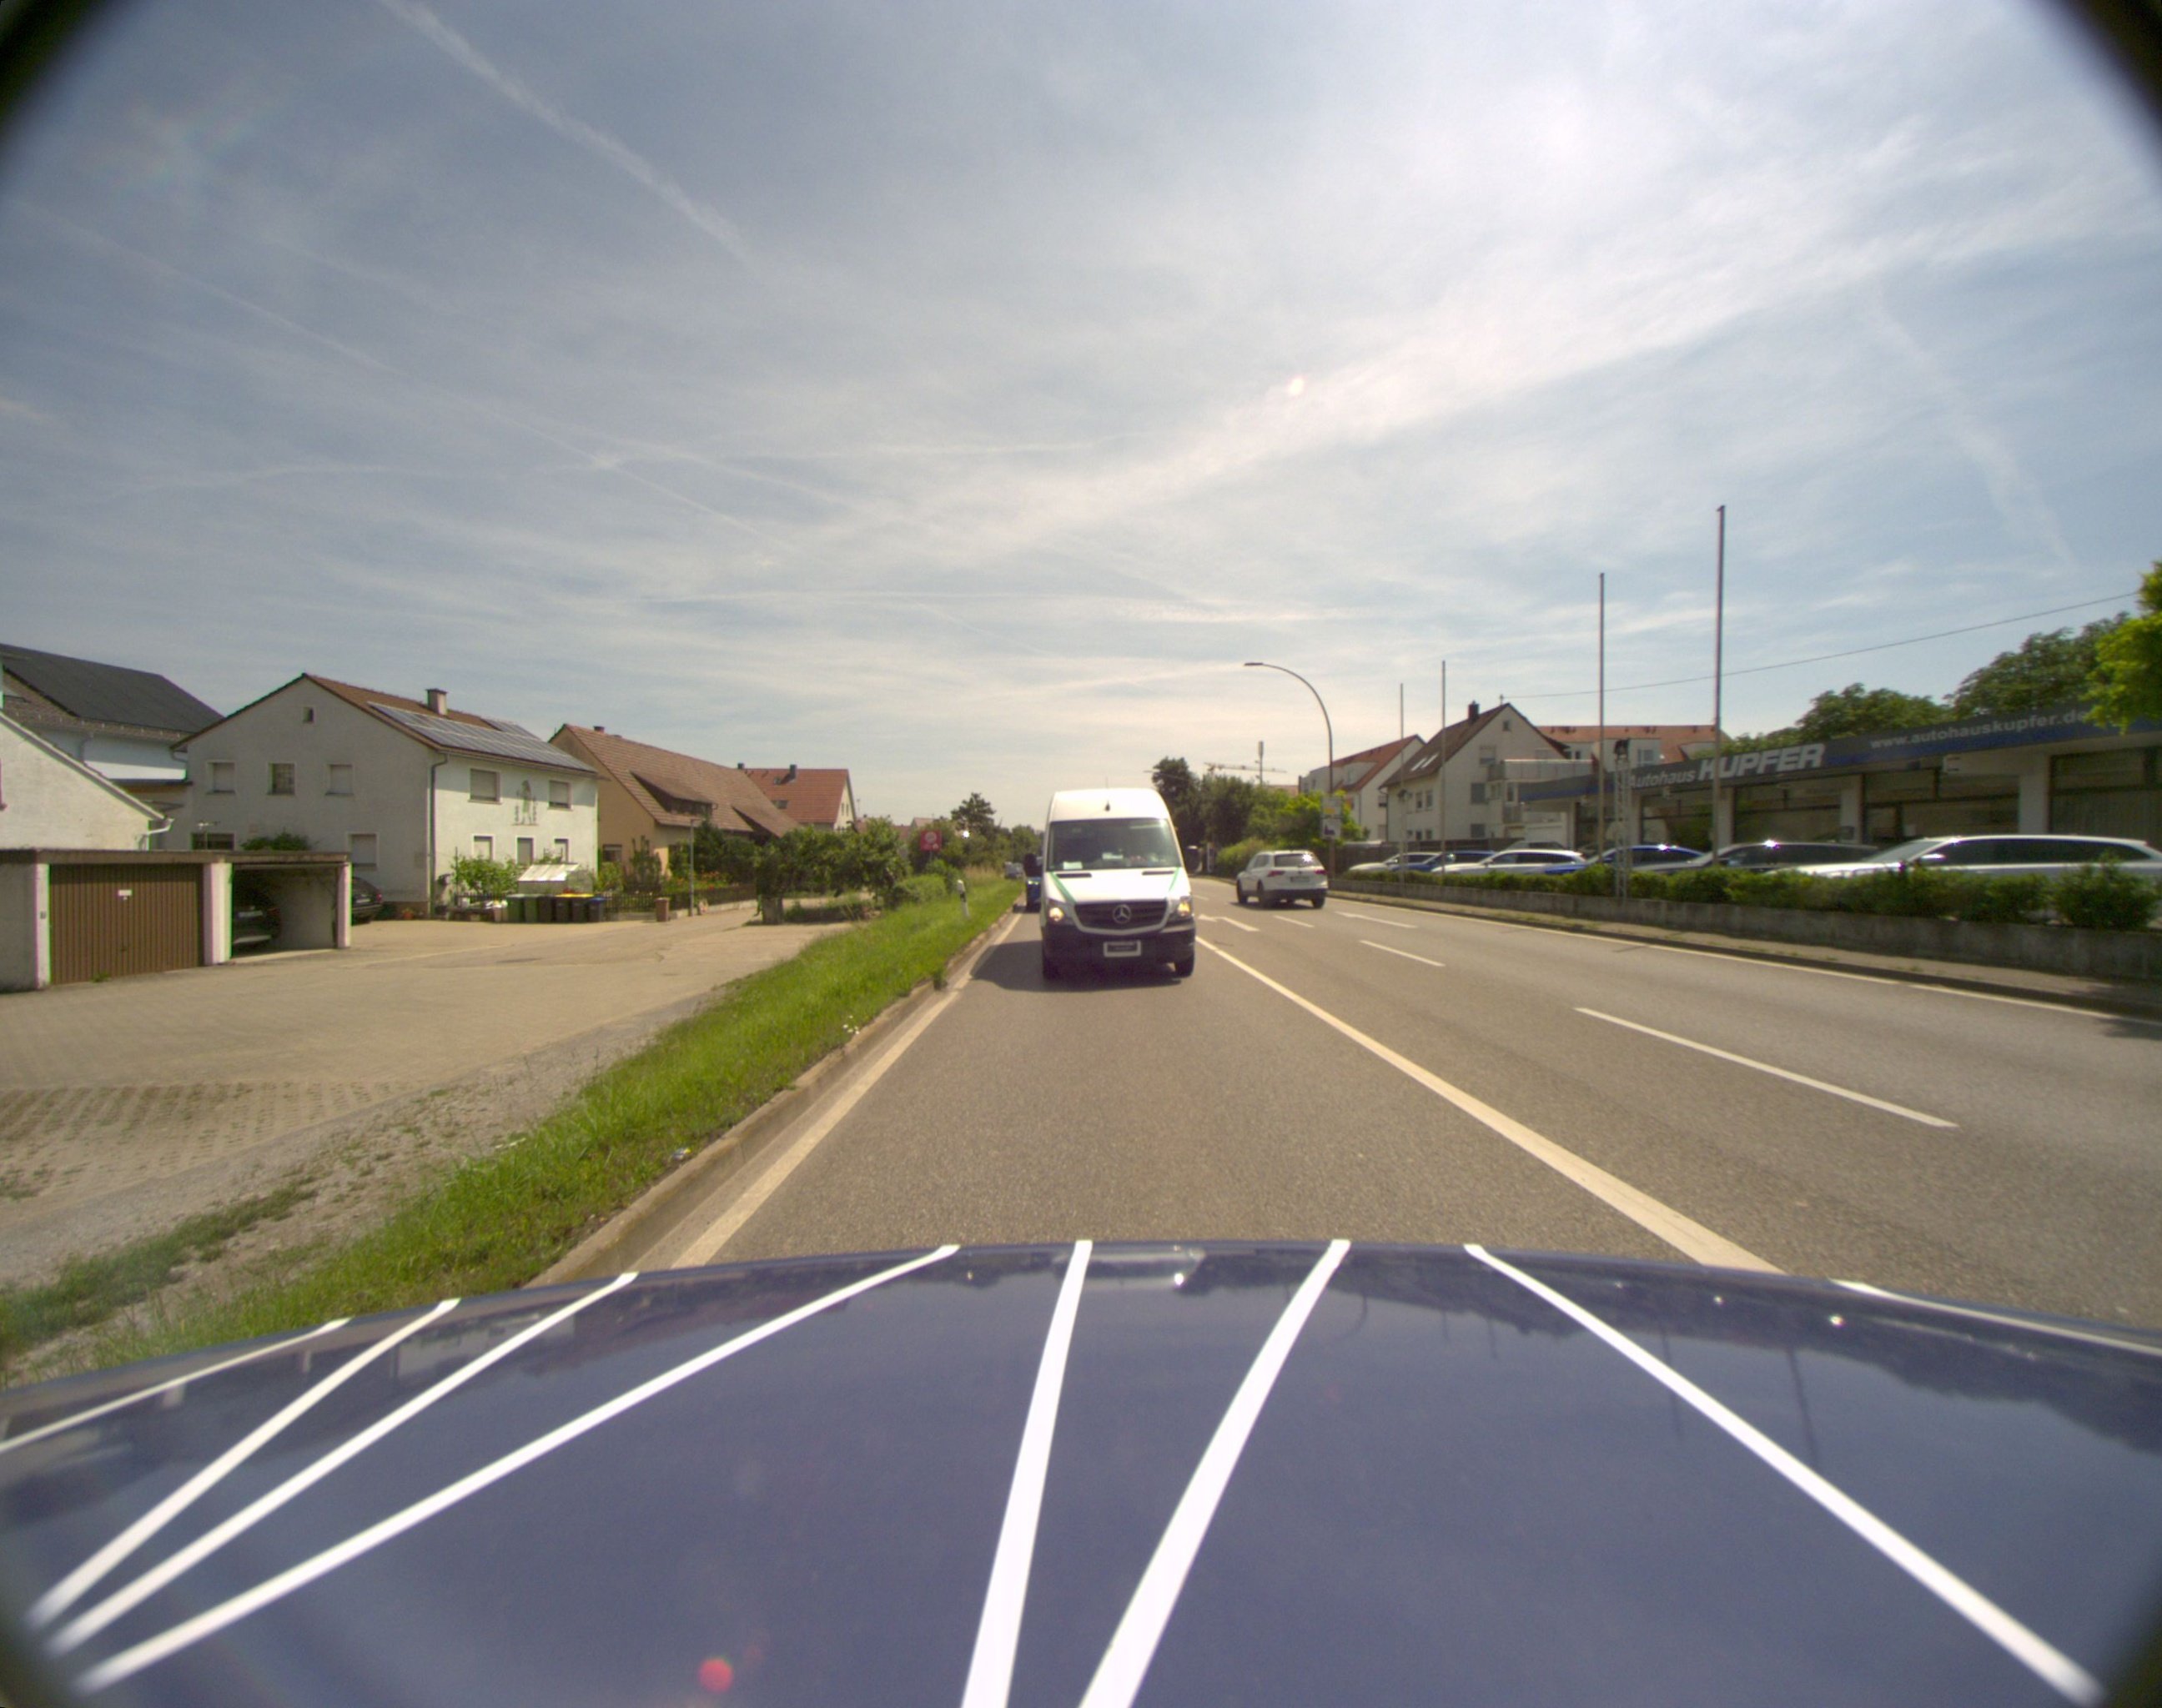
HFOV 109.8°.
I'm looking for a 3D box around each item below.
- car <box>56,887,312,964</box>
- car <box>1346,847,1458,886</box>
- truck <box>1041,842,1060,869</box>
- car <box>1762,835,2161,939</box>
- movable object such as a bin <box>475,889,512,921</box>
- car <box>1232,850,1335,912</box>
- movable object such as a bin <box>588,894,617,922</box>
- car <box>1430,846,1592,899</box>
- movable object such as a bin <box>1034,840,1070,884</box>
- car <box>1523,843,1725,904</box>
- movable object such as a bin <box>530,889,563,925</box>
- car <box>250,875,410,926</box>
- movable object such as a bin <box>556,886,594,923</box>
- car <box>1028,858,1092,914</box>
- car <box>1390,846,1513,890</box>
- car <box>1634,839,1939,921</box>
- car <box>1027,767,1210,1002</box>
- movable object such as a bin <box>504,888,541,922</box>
[{"bbox_3d":[-21.467,1.684,18.303,3.997,1.594,1.826,-1,0,1],"label":"car"},{"bbox_3d":[13.758,0.542,32.552,4.255,1.521,2.003,-2,0,26],"label":"car"},{"bbox_3d":[-4.587,0.214,115.288,2.506,3.847,5.497,-2,0,-1],"label":"truck"},{"bbox_3d":[14.094,0.507,12.204,4.329,1.451,1.858,-2,0,24],"label":"car"},{"bbox_3d":[-22.907,1.981,29.626,0.740,1.149,0.830,-2,0,-1],"label":"movable object such as a bin"},{"bbox_3d":[6.026,0.768,23.202,1.850,1.645,4.403,-2,0,-1],"label":"car"},{"bbox_3d":[-18.681,2.117,29.676,0.645,1.021,0.756,-2,0,-1],"label":"movable object such as a bin"},{"bbox_3d":[13.610,0.598,24.292,4.303,1.510,2.003,-2,0,27],"label":"car"},{"bbox_3d":[-1.846,0.525,50.504,1.998,2.710,5.419,-2,0,1],"label":"movable object such as a bin"},{"bbox_3d":[13.984,0.504,19.867,3.990,1.433,1.857,-2,0,25],"label":"car"},{"bbox_3d":[-21.027,2.077,29.899,0.678,1.330,0.820,-2,0,-1],"label":"movable object such as a bin"},{"bbox_3d":[-27.421,1.678,27.831,3.997,1.724,1.828,0,1,0],"label":"car"},{"bbox_3d":[-19.691,1.967,29.591,0.765,1.362,0.946,-2,0,-1],"label":"movable object such as a bin"},{"bbox_3d":[-0.619,0.942,23.958,1.824,1.574,3.901,-1,0,-1],"label":"car"},{"bbox_3d":[13.837,0.524,28.529,3.990,1.455,2.003,-2,0,26],"label":"car"},{"bbox_3d":[14.350,0.547,15.824,4.251,1.536,1.853,-2,0,23],"label":"car"},{"bbox_3d":[0.407,0.360,11.402,1.977,2.583,5.634,-2,0,0],"label":"car"},{"bbox_3d":[-21.949,1.993,29.877,0.745,1.239,0.889,-2,0,-1],"label":"movable object such as a bin"}]
